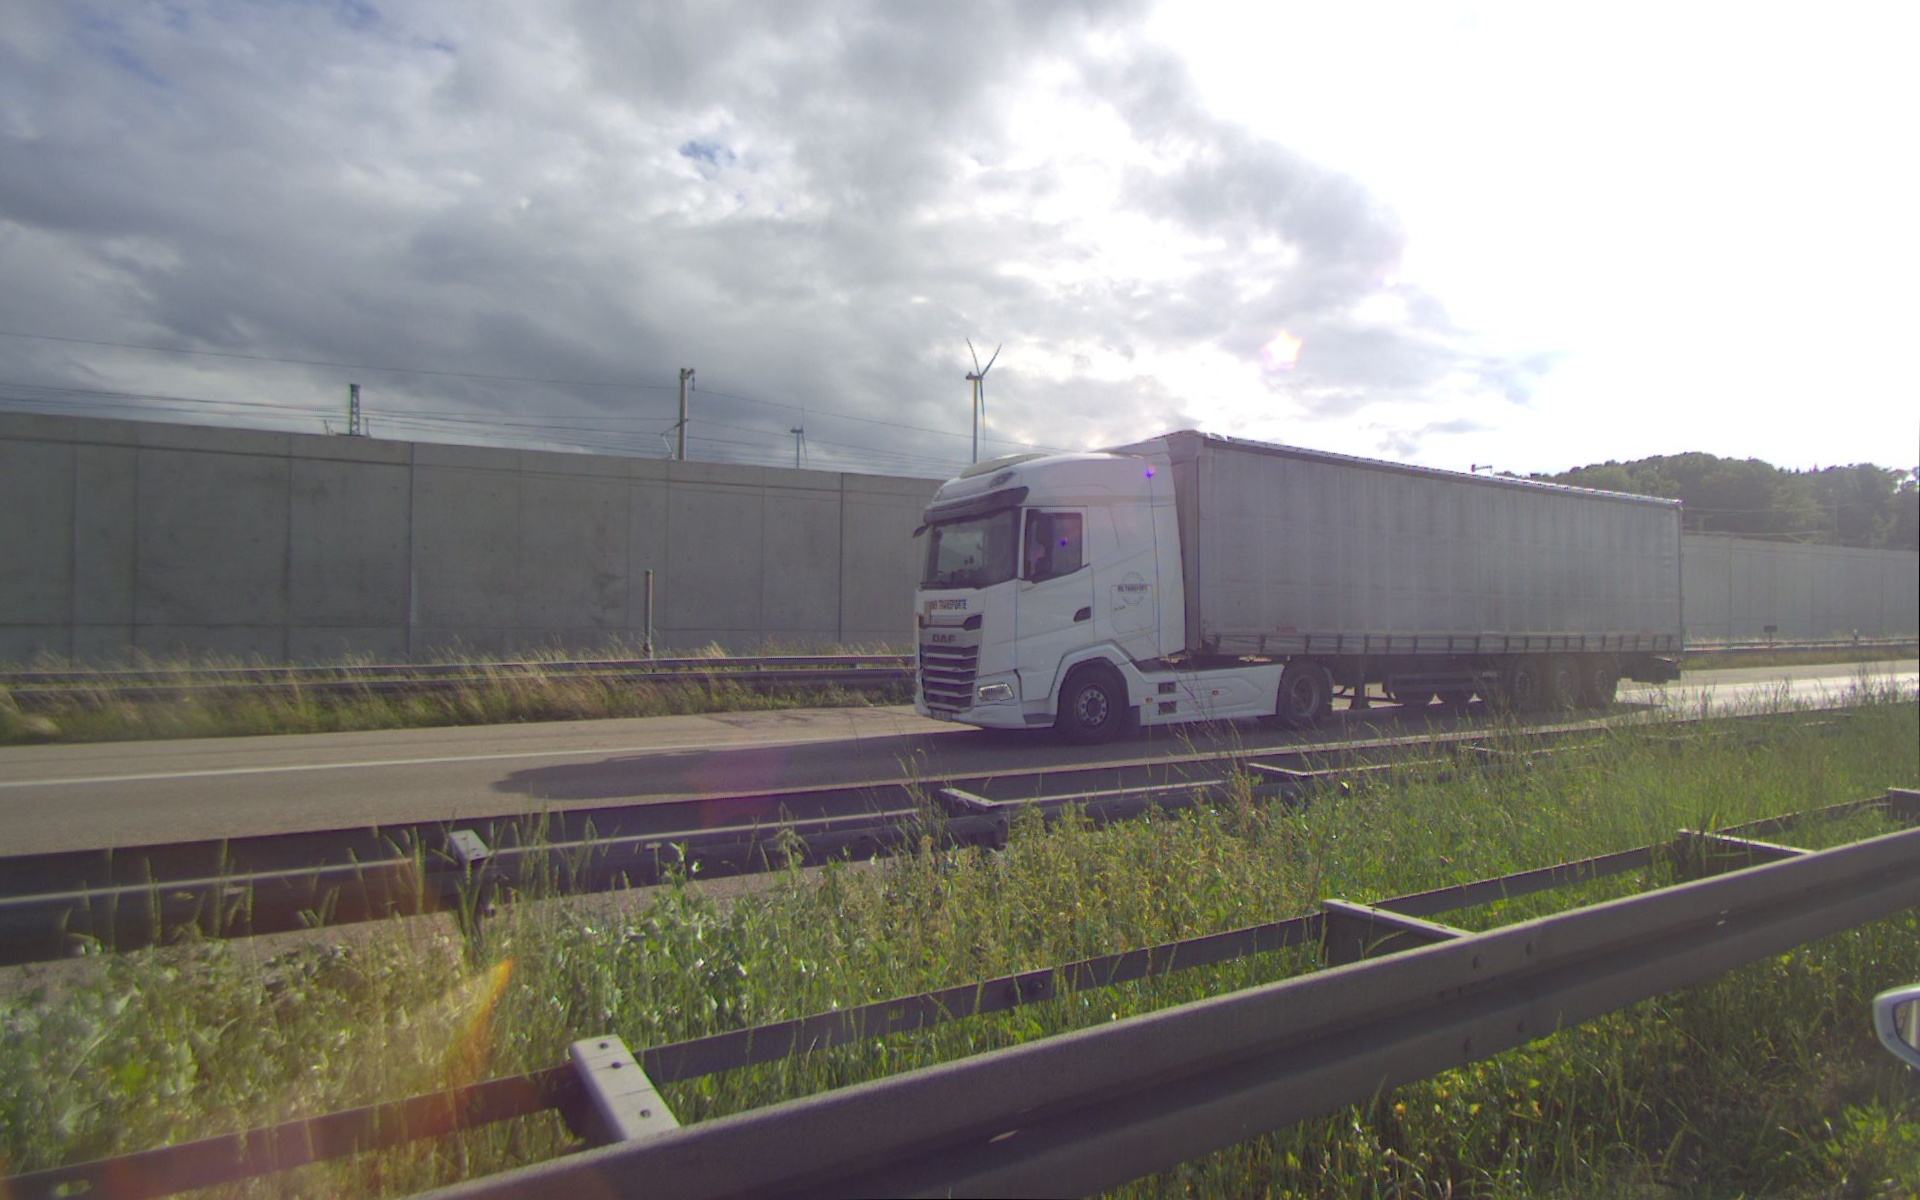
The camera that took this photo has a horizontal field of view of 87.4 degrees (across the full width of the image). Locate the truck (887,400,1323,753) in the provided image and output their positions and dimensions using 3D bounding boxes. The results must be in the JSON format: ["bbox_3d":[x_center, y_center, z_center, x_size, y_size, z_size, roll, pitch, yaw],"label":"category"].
[{"bbox_3d":[2.150,-0.197,14.357,5.811,4.122,2.672,1,-1,-31],"label":"truck"}]

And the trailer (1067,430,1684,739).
[{"bbox_3d":[8.175,-0.051,17.988,13.633,4.091,2.670,1,-1,-31],"label":"trailer"}]
